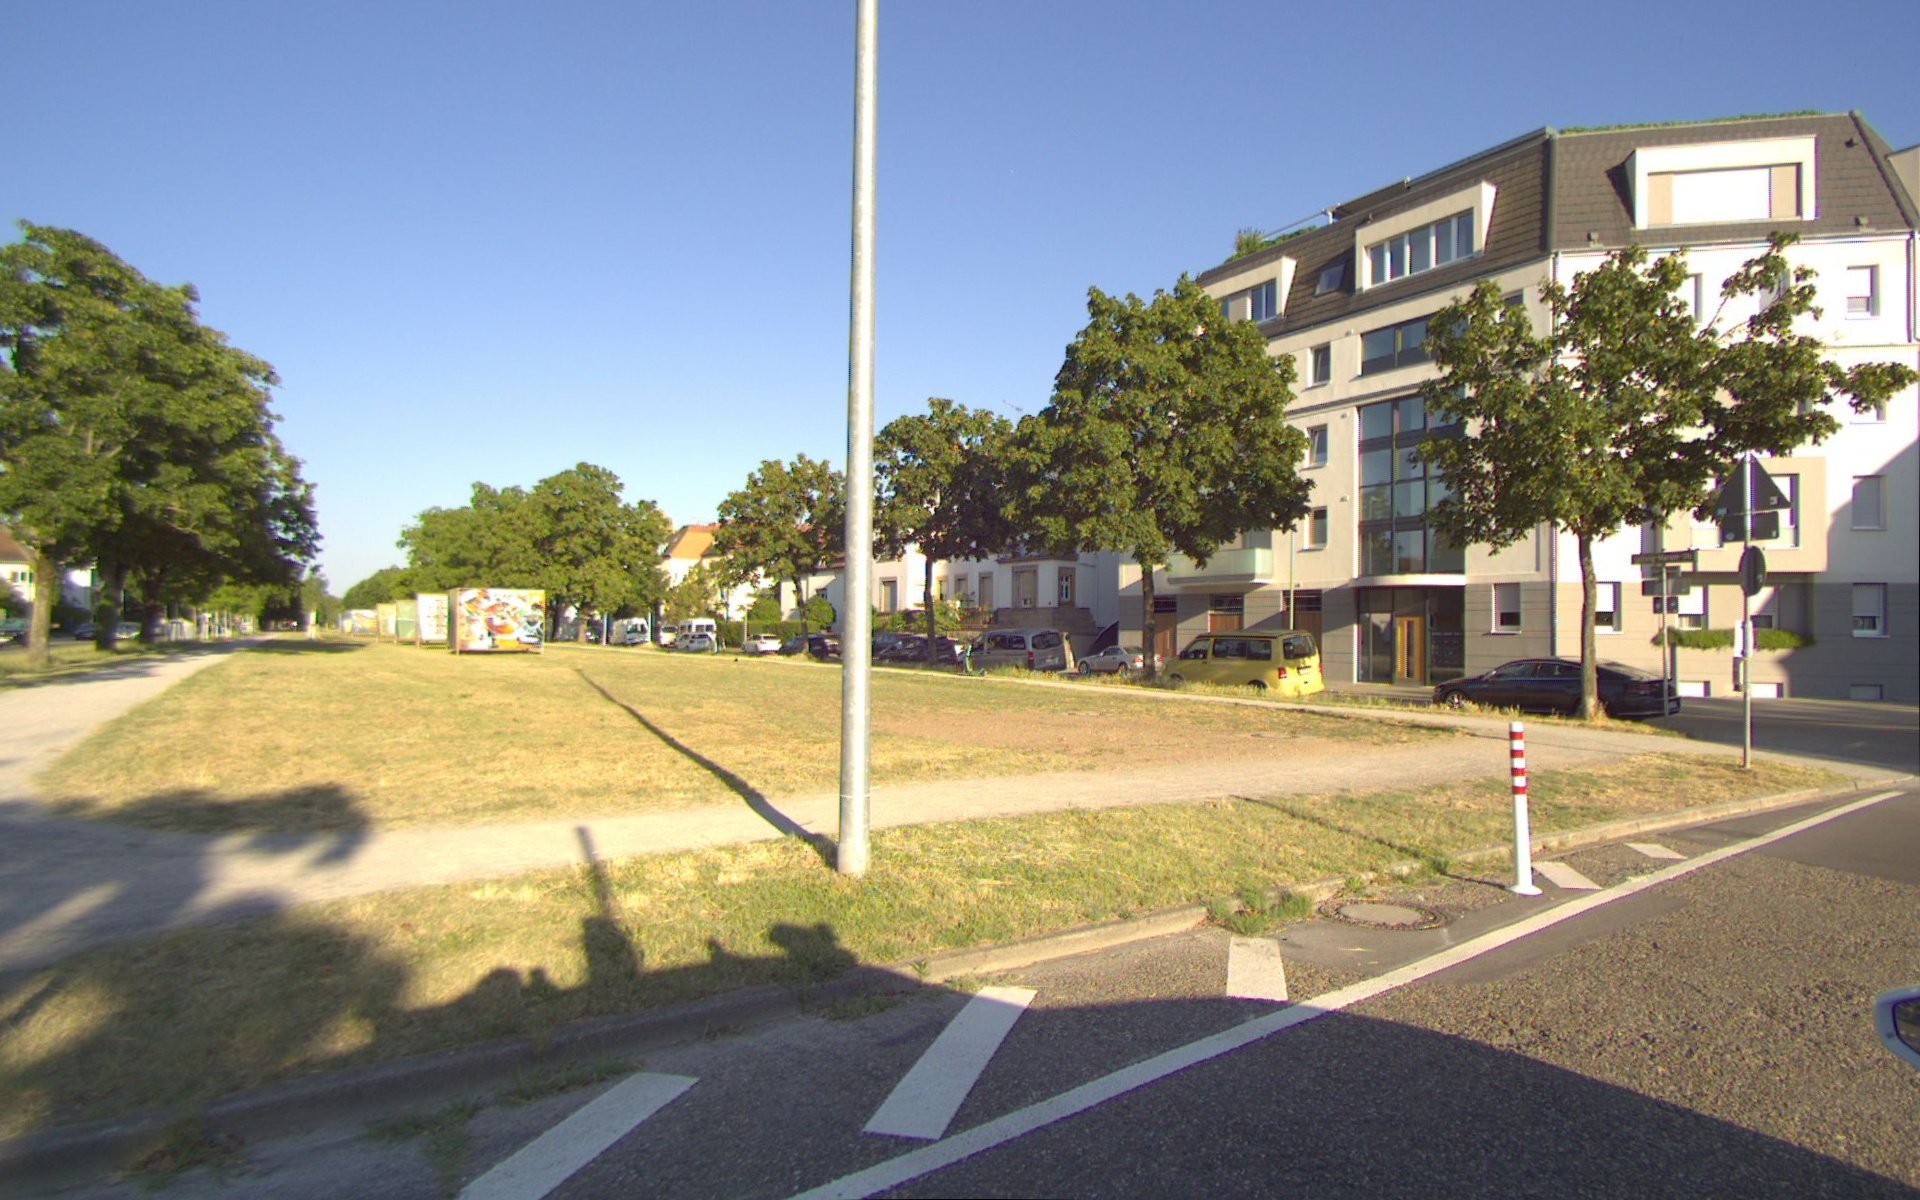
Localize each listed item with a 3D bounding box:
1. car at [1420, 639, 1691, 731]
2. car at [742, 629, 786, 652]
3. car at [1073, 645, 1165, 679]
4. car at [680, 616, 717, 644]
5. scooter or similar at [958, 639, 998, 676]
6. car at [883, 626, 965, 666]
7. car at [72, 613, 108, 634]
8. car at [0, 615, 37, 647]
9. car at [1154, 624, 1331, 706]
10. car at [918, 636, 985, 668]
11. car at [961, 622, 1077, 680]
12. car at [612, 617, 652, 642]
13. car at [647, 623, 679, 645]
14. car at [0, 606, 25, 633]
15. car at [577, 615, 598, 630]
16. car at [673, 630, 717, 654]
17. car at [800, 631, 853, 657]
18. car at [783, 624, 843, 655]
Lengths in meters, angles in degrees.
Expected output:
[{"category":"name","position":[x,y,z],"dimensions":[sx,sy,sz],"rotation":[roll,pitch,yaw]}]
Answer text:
[{"category":"car","position":[12.685,1.739,21.756],"dimensions":[1.769,1.691,4.796],"rotation":[2,-2,-33]},{"category":"car","position":[-14.393,2.949,73.716],"dimensions":[1.807,1.601,3.931],"rotation":[2,-2,-33]},{"category":"car","position":[6.518,2.544,41.468],"dimensions":[1.611,1.256,3.691],"rotation":[4,-3,-37]},{"category":"car","position":[-22.277,2.536,85.396],"dimensions":[1.977,2.243,4.097],"rotation":[2,-2,-31]},{"category":"scooter or similar","position":[0.558,1.827,32.292],"dimensions":[0.448,1.130,1.634],"rotation":[2,-2,-32]},{"category":"car","position":[-1.603,1.969,43.556],"dimensions":[1.807,1.601,3.801],"rotation":[2,-2,-33]},{"category":"car","position":[-71.755,1.915,82.857],"dimensions":[1.833,1.718,3.961],"rotation":[0,-1,-35]},{"category":"car","position":[-55.587,1.802,58.738],"dimensions":[1.789,1.739,3.314],"rotation":[3,-2,-34]},{"category":"car","position":[7.985,1.767,28.812],"dimensions":[2.012,2.040,4.650],"rotation":[-2,0,-34]},{"category":"car","position":[-0.498,2.764,54.140],"dimensions":[1.807,1.601,3.801],"rotation":[2,-2,-33]},{"category":"car","position":[2.179,1.904,38.347],"dimensions":[2.058,2.040,4.532],"rotation":[2,-2,-34]},{"category":"car","position":[-26.753,2.384,81.809],"dimensions":[2.203,1.971,4.472],"rotation":[2,-2,-31]},{"category":"car","position":[-27.744,3.168,93.743],"dimensions":[1.977,1.971,4.097],"rotation":[2,-2,-31]},{"category":"car","position":[-62.699,1.279,65.635],"dimensions":[1.833,1.718,3.961],"rotation":[0,-1,-35]},{"category":"car","position":[-46.356,2.769,124.917],"dimensions":[1.827,1.765,3.863],"rotation":[2,-2,-31]},{"category":"car","position":[-18.268,2.883,69.135],"dimensions":[1.807,1.601,3.801],"rotation":[2,-2,-33]},{"category":"car","position":[-8.740,2.855,65.385],"dimensions":[1.807,1.601,4.125],"rotation":[2,-2,-33]},{"category":"car","position":[-7.994,2.128,54.367],"dimensions":[1.807,1.601,3.801],"rotation":[2,-2,-33]}]
